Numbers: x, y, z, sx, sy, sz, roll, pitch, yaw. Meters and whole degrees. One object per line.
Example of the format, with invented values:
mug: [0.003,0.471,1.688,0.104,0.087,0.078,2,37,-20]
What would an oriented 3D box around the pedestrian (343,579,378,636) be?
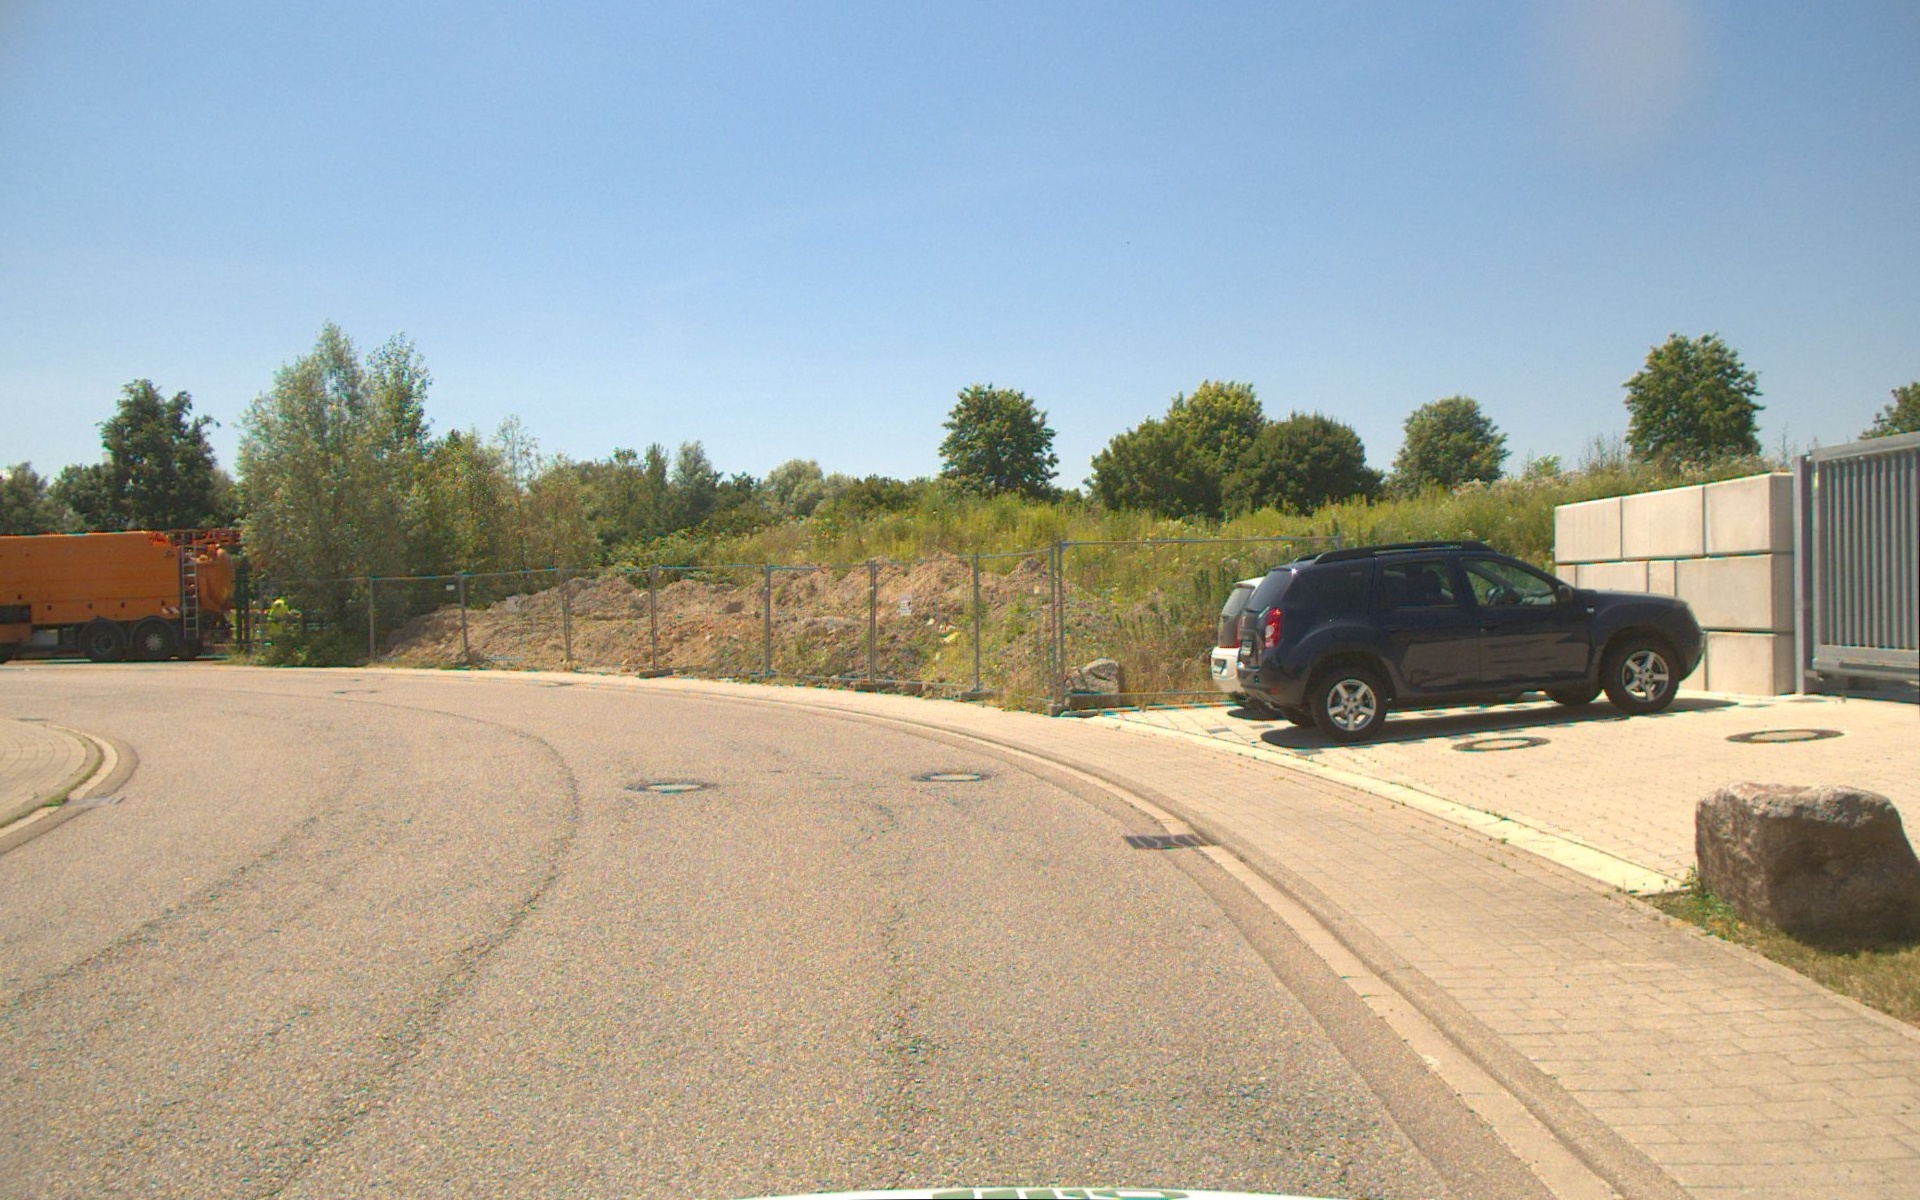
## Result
pedestrian: [-19.502,0.237,53.839,0.858,1.856,0.740,0,0,-2]

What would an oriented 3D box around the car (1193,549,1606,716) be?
car: [4.682,0.325,18.054,3.929,1.487,1.892,-3,0,-1]

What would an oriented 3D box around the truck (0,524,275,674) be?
truck: [-24.145,-0.022,46.002,8.414,3.872,4.162,-1,1,-4]

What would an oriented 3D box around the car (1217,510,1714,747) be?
car: [4.562,0.239,15.361,3.930,1.683,1.858,-6,0,-1]
